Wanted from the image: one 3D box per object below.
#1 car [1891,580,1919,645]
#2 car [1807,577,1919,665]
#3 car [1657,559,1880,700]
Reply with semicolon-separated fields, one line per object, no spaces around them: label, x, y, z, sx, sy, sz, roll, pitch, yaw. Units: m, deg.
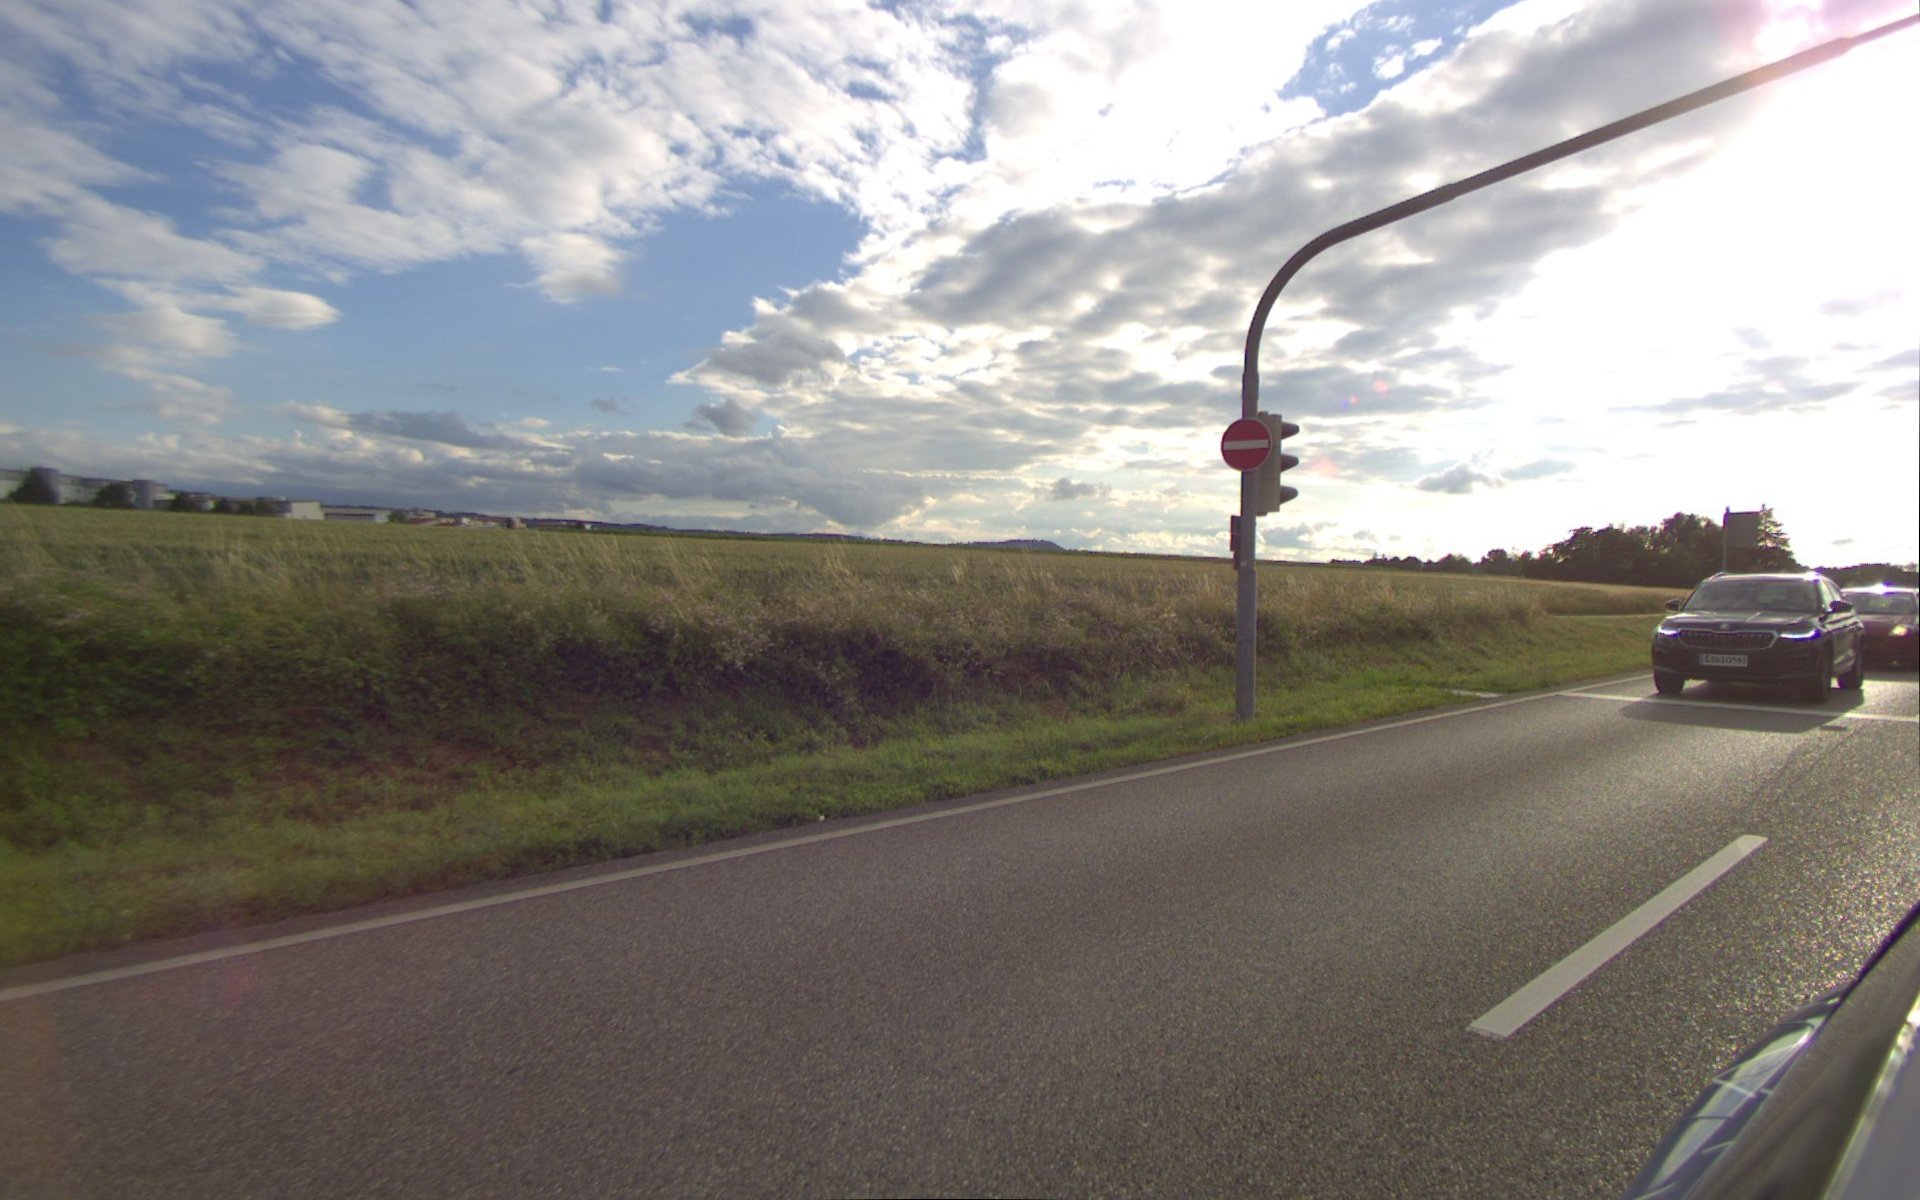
car;23.756;0.282;24.262;3.798;1.494;1.722;0;0;-41
car;17.251;0.349;18.805;3.797;1.494;1.668;0;0;-40
car;11.419;0.339;14.187;4.342;1.689;1.722;0;0;-41
